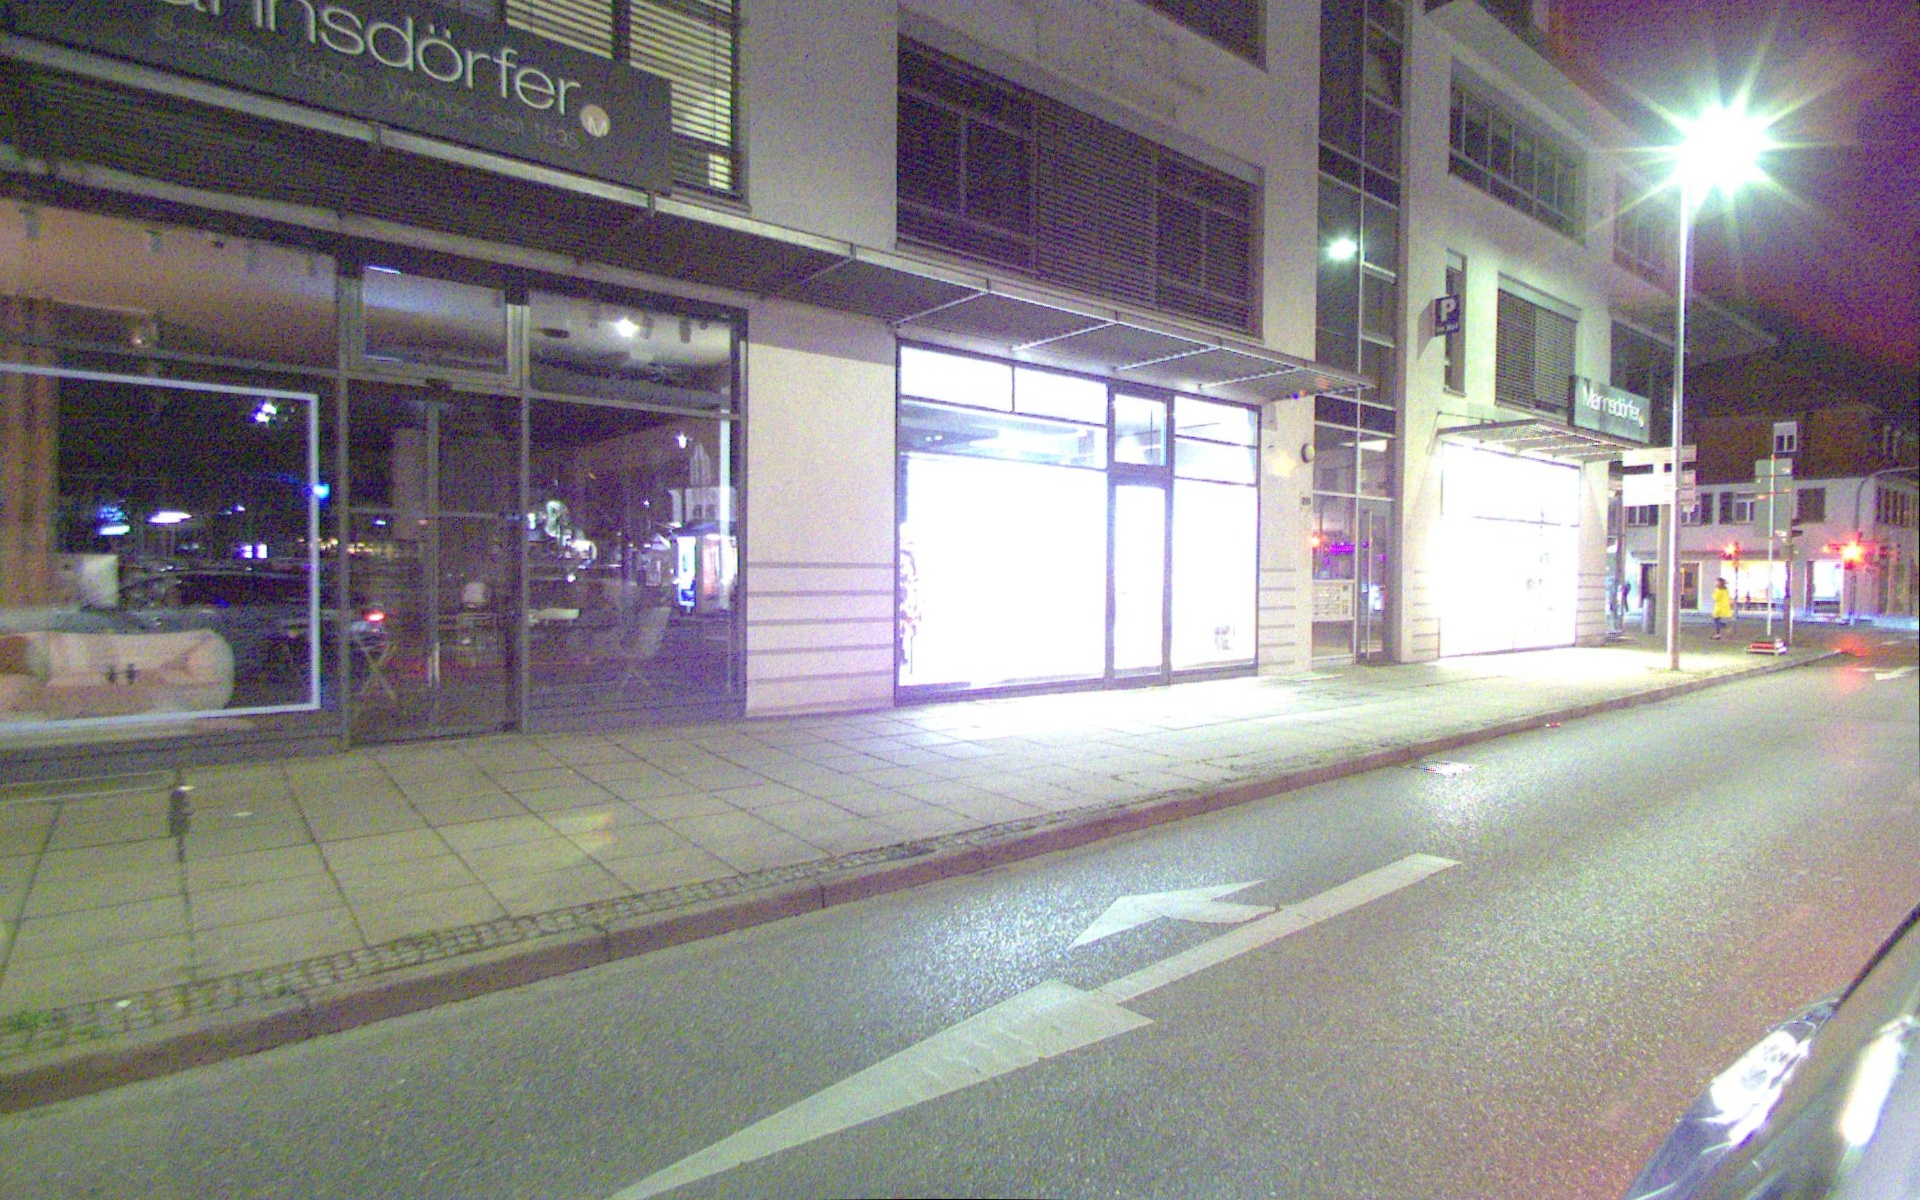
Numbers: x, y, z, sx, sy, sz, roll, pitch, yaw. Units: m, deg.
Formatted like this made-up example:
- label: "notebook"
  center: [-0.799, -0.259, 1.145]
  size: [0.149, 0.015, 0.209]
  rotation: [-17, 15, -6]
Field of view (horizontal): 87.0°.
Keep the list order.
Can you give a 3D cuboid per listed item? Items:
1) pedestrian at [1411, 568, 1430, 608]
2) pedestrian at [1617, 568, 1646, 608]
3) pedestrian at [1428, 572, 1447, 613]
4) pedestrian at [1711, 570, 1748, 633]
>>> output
- label: "pedestrian"
  center: [20.293, -0.537, 44.622]
  size: [0.556, 1.738, 0.567]
  rotation: [0, 0, -34]
- label: "pedestrian"
  center: [30.310, -0.552, 45.669]
  size: [0.635, 1.755, 0.877]
  rotation: [0, 2, -37]
- label: "pedestrian"
  center: [20.539, -0.324, 43.494]
  size: [0.556, 1.738, 0.525]
  rotation: [0, 0, -34]
- label: "pedestrian"
  center: [20.891, 0.039, 27.473]
  size: [0.634, 1.703, 0.541]
  rotation: [0, 0, -19]
